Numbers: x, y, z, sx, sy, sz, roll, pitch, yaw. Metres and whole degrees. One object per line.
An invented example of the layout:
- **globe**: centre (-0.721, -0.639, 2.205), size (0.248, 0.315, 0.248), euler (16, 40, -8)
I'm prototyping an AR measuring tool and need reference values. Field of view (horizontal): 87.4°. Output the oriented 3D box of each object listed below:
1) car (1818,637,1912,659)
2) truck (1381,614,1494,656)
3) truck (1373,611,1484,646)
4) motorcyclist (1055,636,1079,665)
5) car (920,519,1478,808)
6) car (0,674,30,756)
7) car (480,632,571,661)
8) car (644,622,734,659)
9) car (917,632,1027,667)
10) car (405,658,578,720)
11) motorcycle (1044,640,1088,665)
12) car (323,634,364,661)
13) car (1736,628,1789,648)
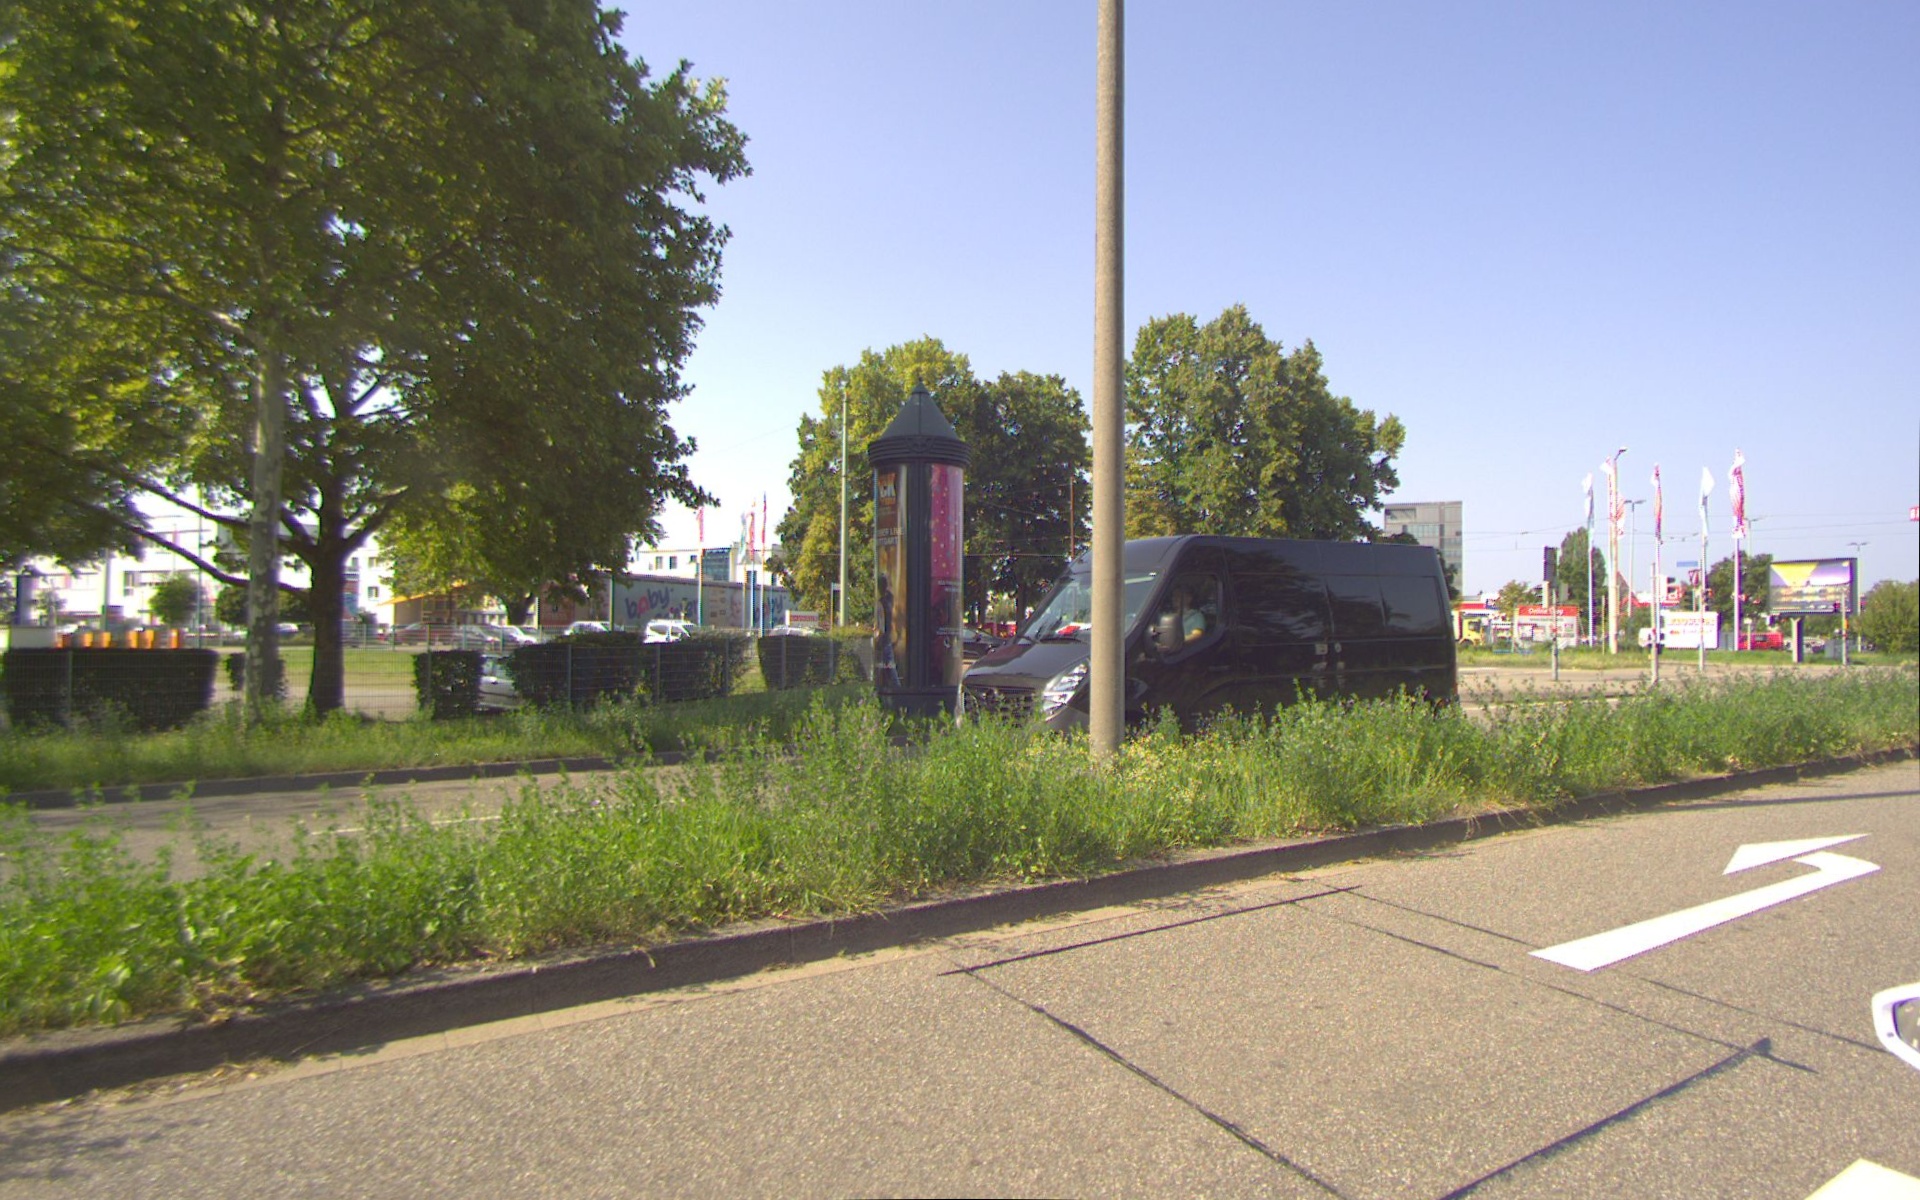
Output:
- **car**: centre (47.748, 2.520, 53.066), size (1.472, 1.152, 3.368), euler (1, -2, -23)
- **truck**: centre (28.646, 2.064, 60.442), size (2.084, 2.360, 5.944), euler (2, -1, -34)
- **truck**: centre (41.835, 2.578, 90.100), size (8.840, 2.996, 3.513), euler (-1, -2, 23)
- **motorcyclist**: centre (4.457, 2.097, 41.805), size (0.814, 1.194, 0.691), euler (1, -1, 23)
- **car**: centre (2.781, 0.607, 10.771), size (6.213, 2.363, 2.100), euler (2, -1, -33)
- **car**: centre (-17.505, 2.009, 17.151), size (1.802, 1.327, 3.962), euler (1, -3, -35)
- **car**: centre (-23.841, 2.540, 55.159), size (4.499, 1.565, 1.871), euler (-1, -2, 19)
- **car**: centre (-13.410, 1.977, 49.719), size (3.922, 1.701, 1.870), euler (1, -1, 22)
- **car**: centre (0.514, 2.182, 44.782), size (4.655, 1.462, 1.572), euler (-1, -2, 22)
- **car**: centre (-11.535, 2.155, 24.720), size (3.922, 1.273, 1.590), euler (1, -1, 22)
- **motorcycle**: centre (4.414, 2.187, 41.812), size (1.688, 0.957, 0.711), euler (1, -1, 23)
- **car**: centre (-36.898, 2.812, 60.164), size (1.817, 1.565, 3.971), euler (1, -2, -28)
- **car**: centre (88.015, 4.171, 110.249), size (4.210, 2.040, 1.998), euler (0, -1, 26)
